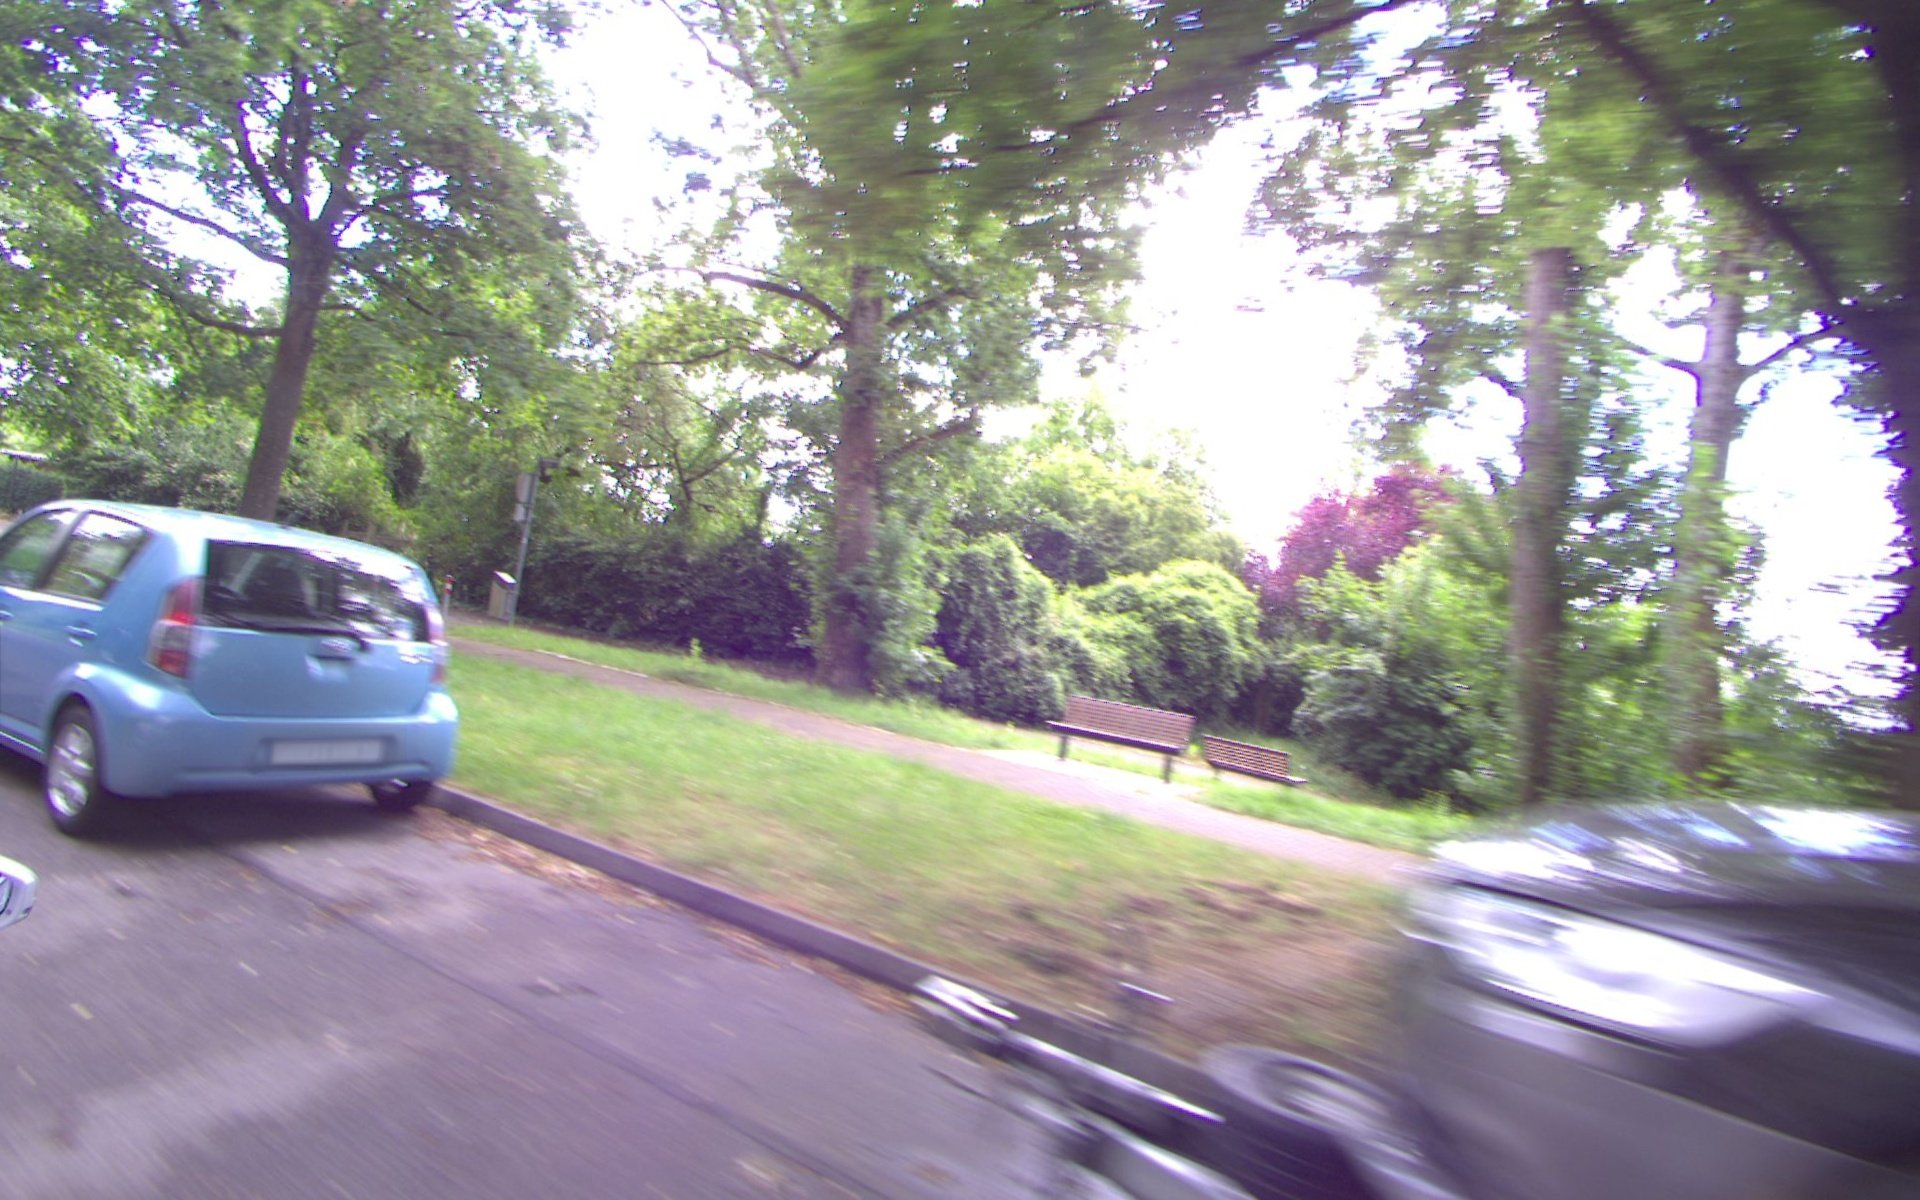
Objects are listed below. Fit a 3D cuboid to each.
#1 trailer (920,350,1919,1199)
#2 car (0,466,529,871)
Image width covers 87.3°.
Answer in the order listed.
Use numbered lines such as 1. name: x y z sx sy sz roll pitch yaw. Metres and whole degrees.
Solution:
1. trailer: 2.928 0.995 0.847 5.796 1.955 1.997 6 -2 32
2. car: -4.495 0.191 5.764 3.704 1.565 1.699 8 -1 30
